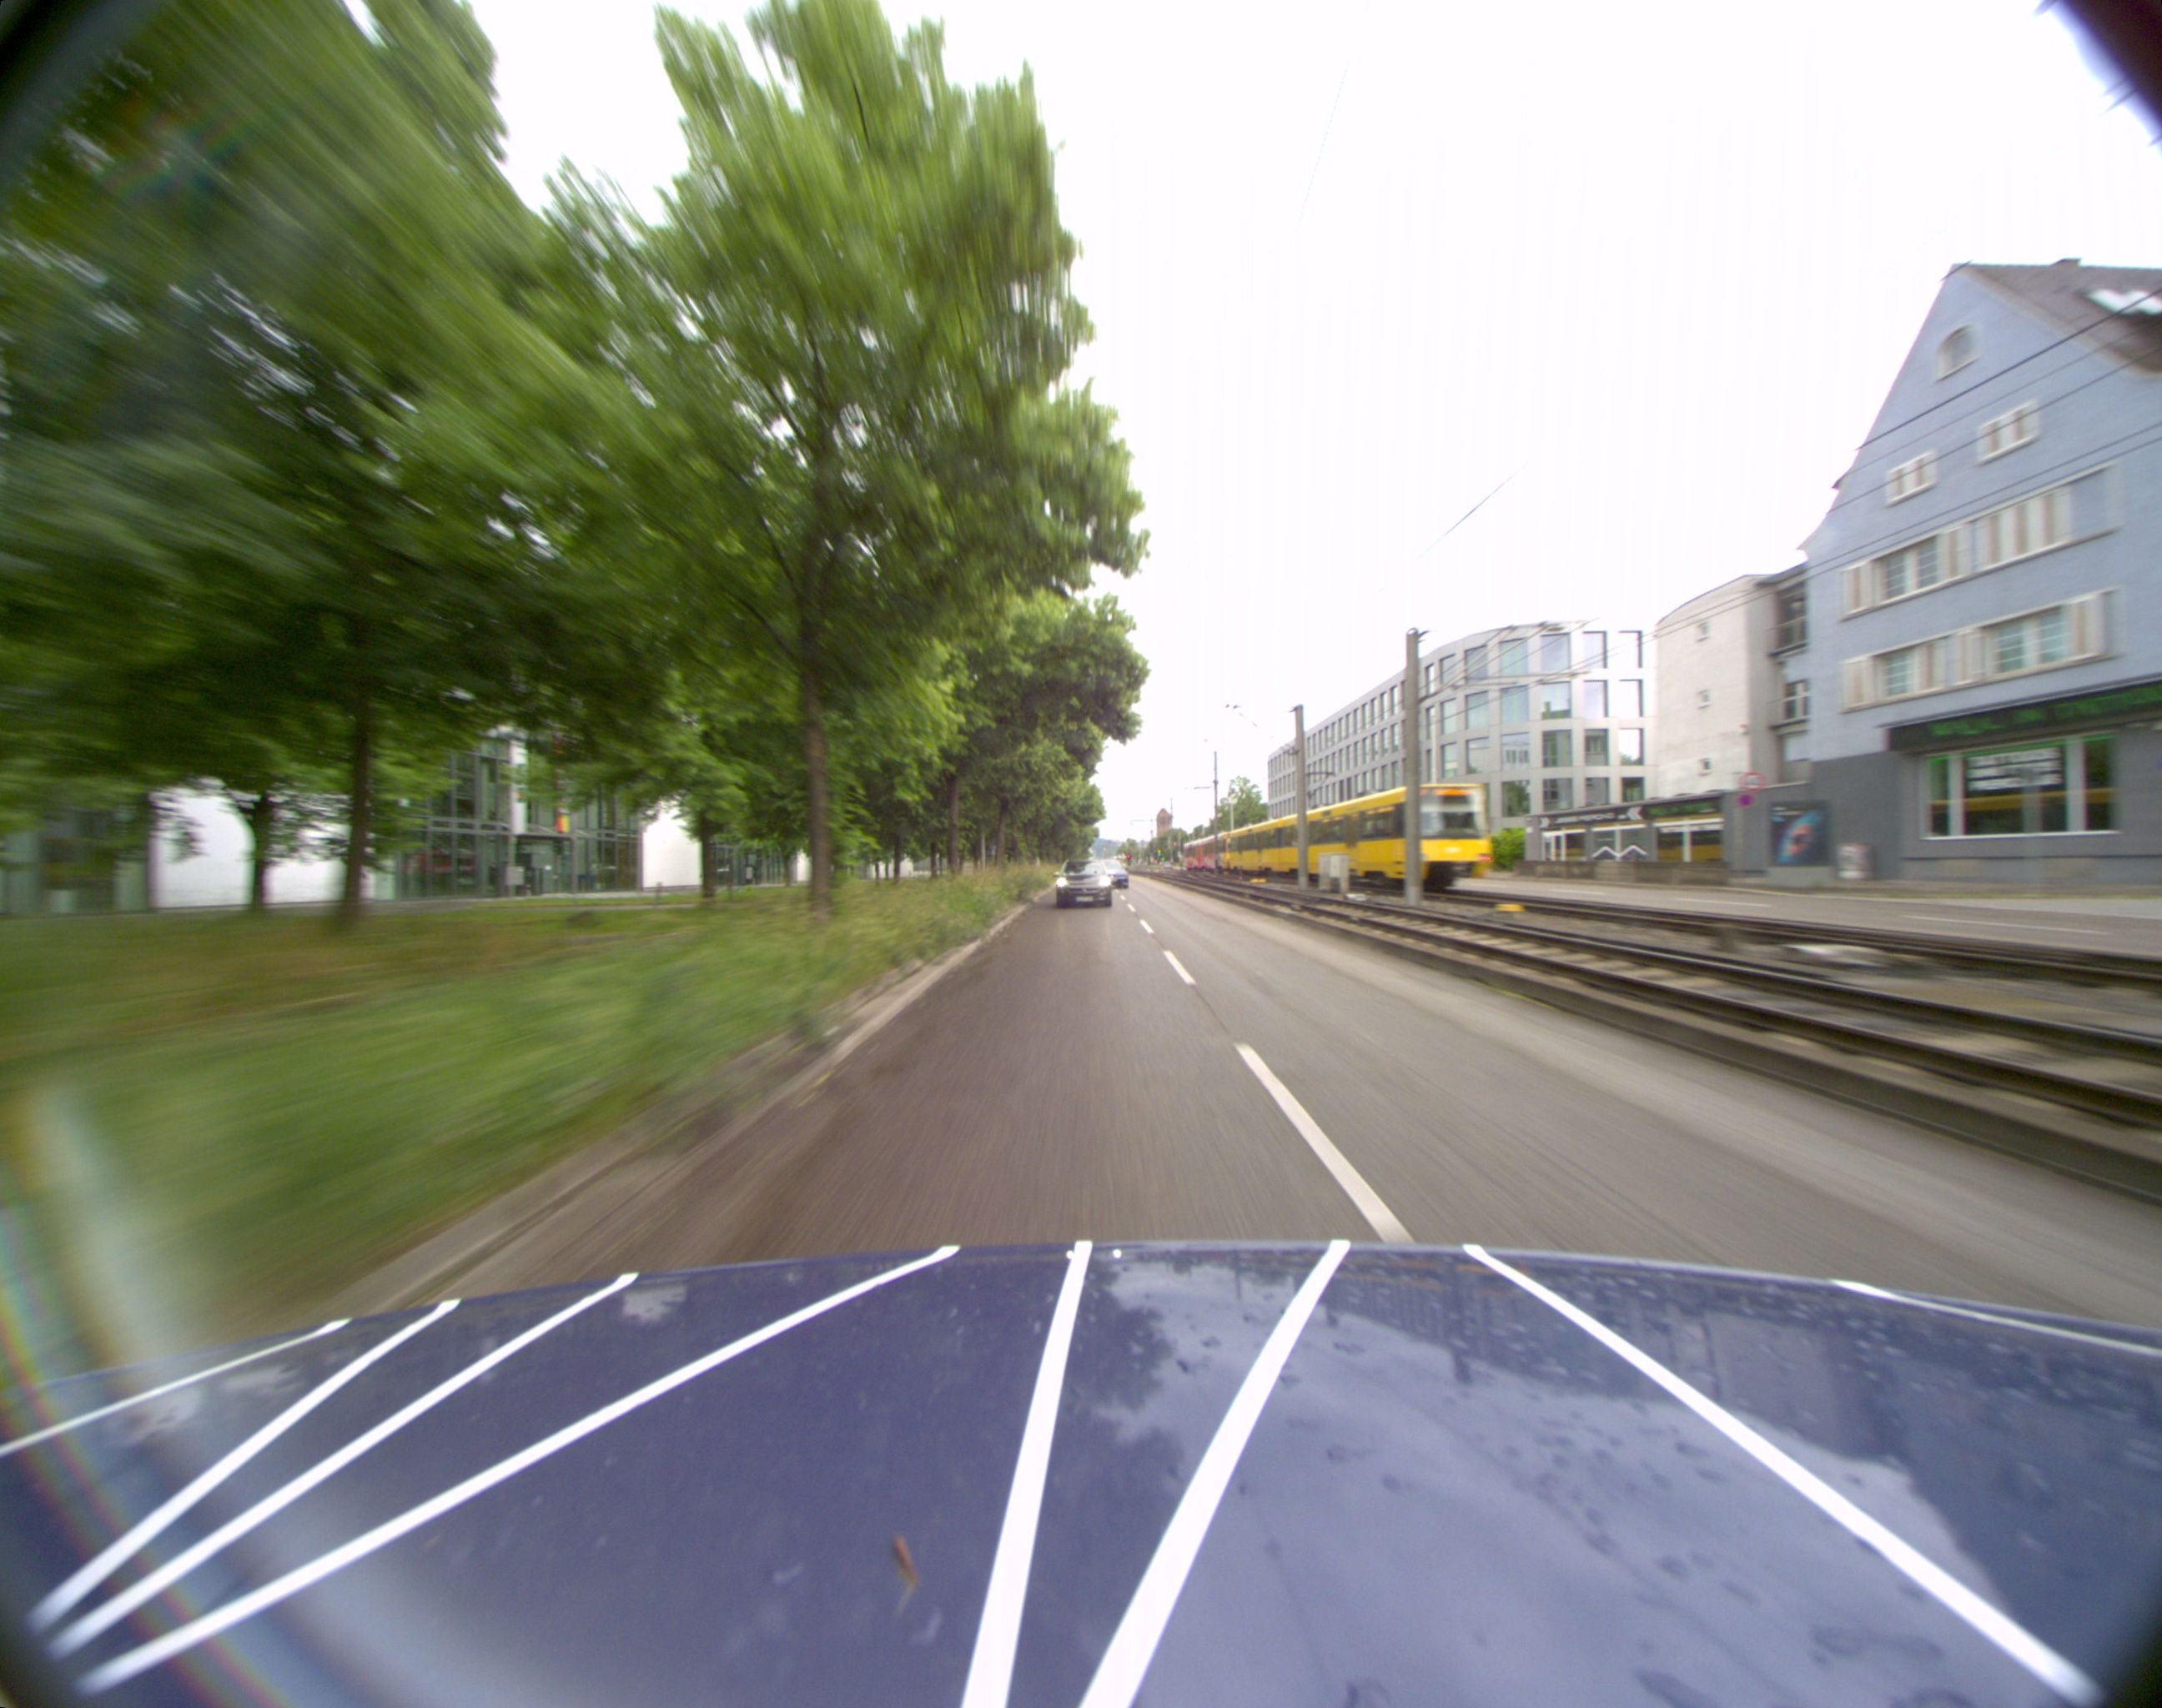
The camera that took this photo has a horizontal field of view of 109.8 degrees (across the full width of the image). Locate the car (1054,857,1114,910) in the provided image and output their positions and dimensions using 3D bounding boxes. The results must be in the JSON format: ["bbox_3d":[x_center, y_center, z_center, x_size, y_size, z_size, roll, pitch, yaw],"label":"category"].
[{"bbox_3d":[0.175,0.879,24.610,1.698,1.439,4.420,-3,0,2],"label":"car"}]

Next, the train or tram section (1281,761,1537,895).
[{"bbox_3d":[11.970,-0.705,31.575,2.974,3.788,19.523,-1,0,2],"label":"train or tram section"}]

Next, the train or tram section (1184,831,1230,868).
[{"bbox_3d":[14.396,-0.465,88.334,2.974,3.788,18.617,-1,0,2],"label":"train or tram section"}]

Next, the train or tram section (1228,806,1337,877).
[{"bbox_3d":[12.790,-0.654,50.879,2.974,3.788,19.102,-1,0,2],"label":"train or tram section"}]

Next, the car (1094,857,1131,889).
[{"bbox_3d":[1.547,0.909,38.197,1.770,1.439,3.833,-1,0,1],"label":"car"}]

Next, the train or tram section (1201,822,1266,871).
[{"bbox_3d":[13.600,-0.566,69.715,2.974,3.788,18.617,-1,0,2],"label":"train or tram section"}]

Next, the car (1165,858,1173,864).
[{"bbox_3d":[23.808,1.959,205.577,1.812,1.627,3.564,-1,-1,1],"label":"car"}]
